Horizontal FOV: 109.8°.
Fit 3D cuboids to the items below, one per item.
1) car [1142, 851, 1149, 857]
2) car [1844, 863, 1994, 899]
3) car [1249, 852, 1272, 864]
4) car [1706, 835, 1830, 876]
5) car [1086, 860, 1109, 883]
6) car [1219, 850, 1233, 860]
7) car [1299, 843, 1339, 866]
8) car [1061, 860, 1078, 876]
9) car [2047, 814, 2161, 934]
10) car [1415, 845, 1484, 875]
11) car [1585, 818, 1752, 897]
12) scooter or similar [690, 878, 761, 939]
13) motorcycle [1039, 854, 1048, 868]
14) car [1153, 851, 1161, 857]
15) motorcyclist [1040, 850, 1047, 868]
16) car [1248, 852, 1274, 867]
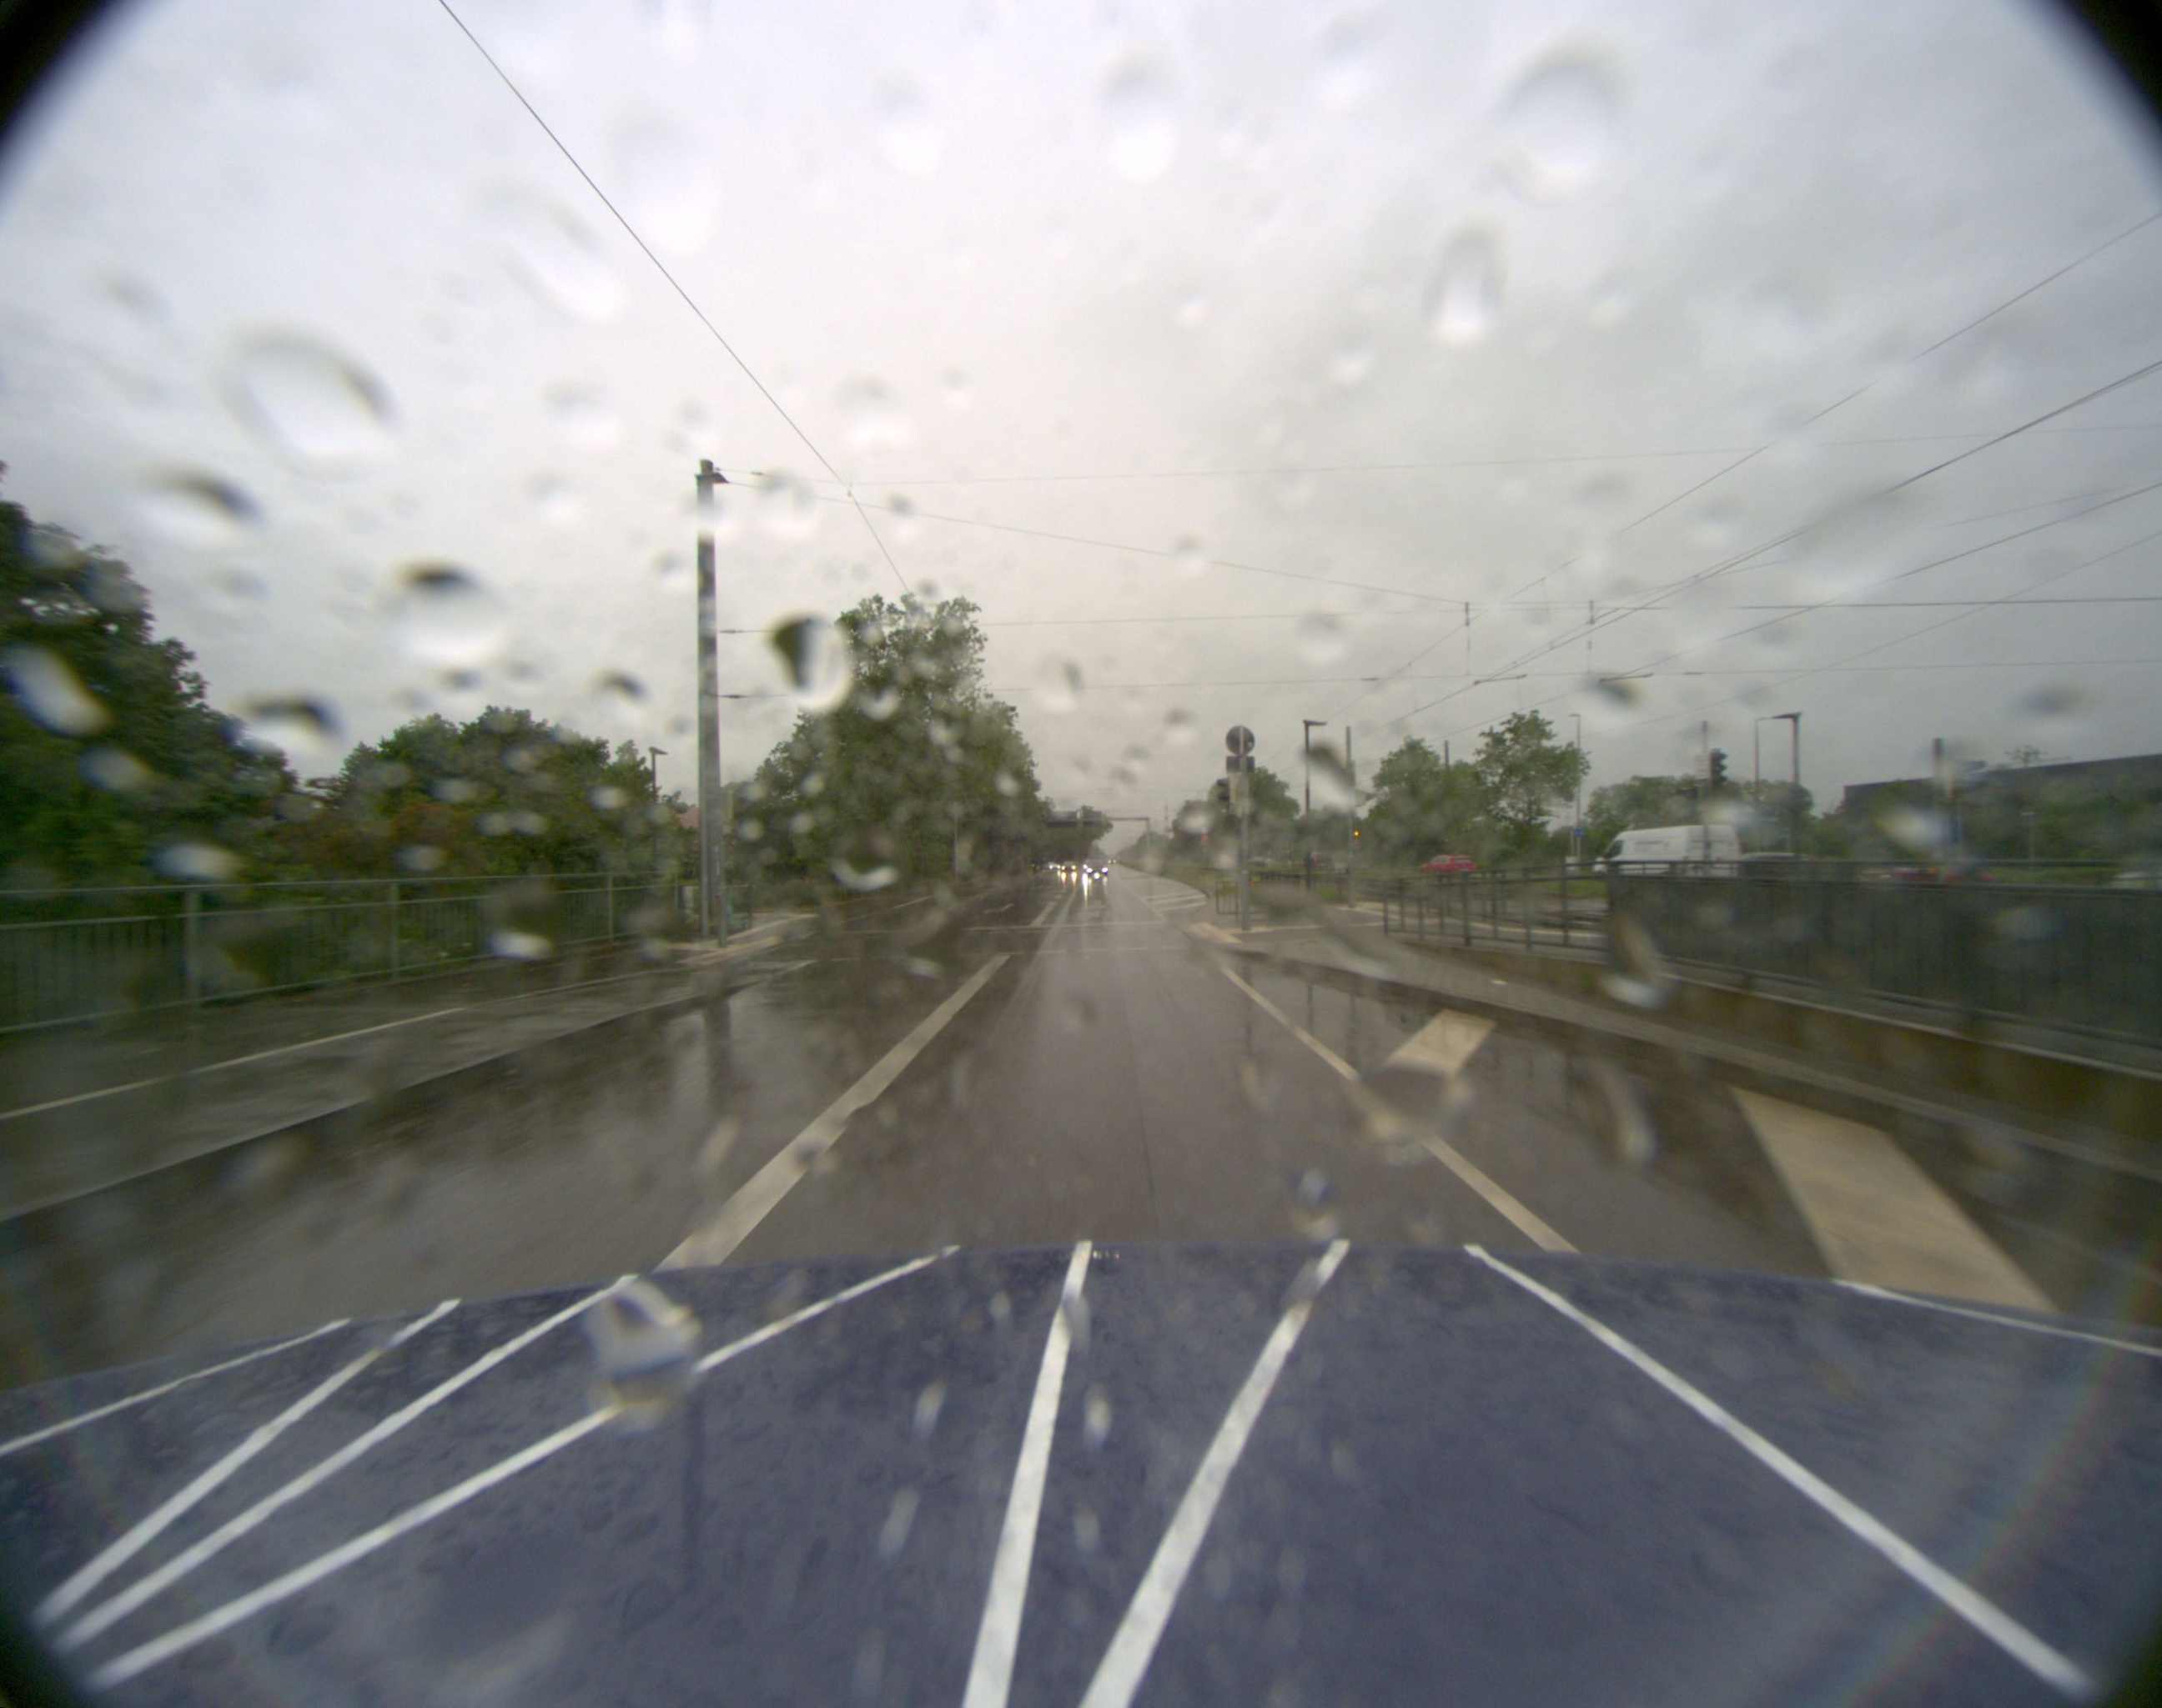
[{"bbox_3d":[21.161,0.087,248.749,1.998,2.002,4.000,-2,0,2],"label":"car"},{"bbox_3d":[39.489,1.266,35.923,4.367,1.433,2.002,-3,0,14],"label":"car"},{"bbox_3d":[23.595,0.560,100.213,1.998,1.477,4.299,-2,0,1],"label":"car"},{"bbox_3d":[33.215,0.073,36.865,3.991,1.849,2.003,-2,0,22],"label":"car"},{"bbox_3d":[1.576,1.588,71.634,1.998,2.002,4.000,-2,0,2],"label":"car"},{"bbox_3d":[23.154,0.167,121.815,1.605,1.580,3.619,-2,1,2],"label":"car"},{"bbox_3d":[19.587,0.037,62.670,1.998,1.761,4.258,-2,0,1],"label":"car"},{"bbox_3d":[-1.528,1.834,98.604,1.999,2.002,3.999,-2,0,-3],"label":"car"},{"bbox_3d":[19.041,0.304,11.807,1.998,2.002,4.753,-2,0,1],"label":"car"},{"bbox_3d":[22.509,0.338,46.620,1.998,1.697,4.625,-2,0,1],"label":"car"},{"bbox_3d":[22.611,0.124,29.649,2.125,2.697,5.738,-2,0,1],"label":"car"},{"bbox_3d":[-8.355,1.249,17.927,0.761,1.285,1.647,-2,1,4],"label":"scooter or similar"},{"bbox_3d":[-4.519,0.858,92.463,0.845,1.710,2.586,-2,0,1],"label":"motorcycle"},{"bbox_3d":[23.778,0.033,237.940,1.975,2.002,4.520,-2,0,-2],"label":"car"},{"bbox_3d":[-4.552,0.589,92.442,0.762,2.246,0.916,-2,1,1],"label":"motorcyclist"},{"bbox_3d":[20.361,0.615,86.280,1.998,1.586,4.381,2,0,2],"label":"car"}]
